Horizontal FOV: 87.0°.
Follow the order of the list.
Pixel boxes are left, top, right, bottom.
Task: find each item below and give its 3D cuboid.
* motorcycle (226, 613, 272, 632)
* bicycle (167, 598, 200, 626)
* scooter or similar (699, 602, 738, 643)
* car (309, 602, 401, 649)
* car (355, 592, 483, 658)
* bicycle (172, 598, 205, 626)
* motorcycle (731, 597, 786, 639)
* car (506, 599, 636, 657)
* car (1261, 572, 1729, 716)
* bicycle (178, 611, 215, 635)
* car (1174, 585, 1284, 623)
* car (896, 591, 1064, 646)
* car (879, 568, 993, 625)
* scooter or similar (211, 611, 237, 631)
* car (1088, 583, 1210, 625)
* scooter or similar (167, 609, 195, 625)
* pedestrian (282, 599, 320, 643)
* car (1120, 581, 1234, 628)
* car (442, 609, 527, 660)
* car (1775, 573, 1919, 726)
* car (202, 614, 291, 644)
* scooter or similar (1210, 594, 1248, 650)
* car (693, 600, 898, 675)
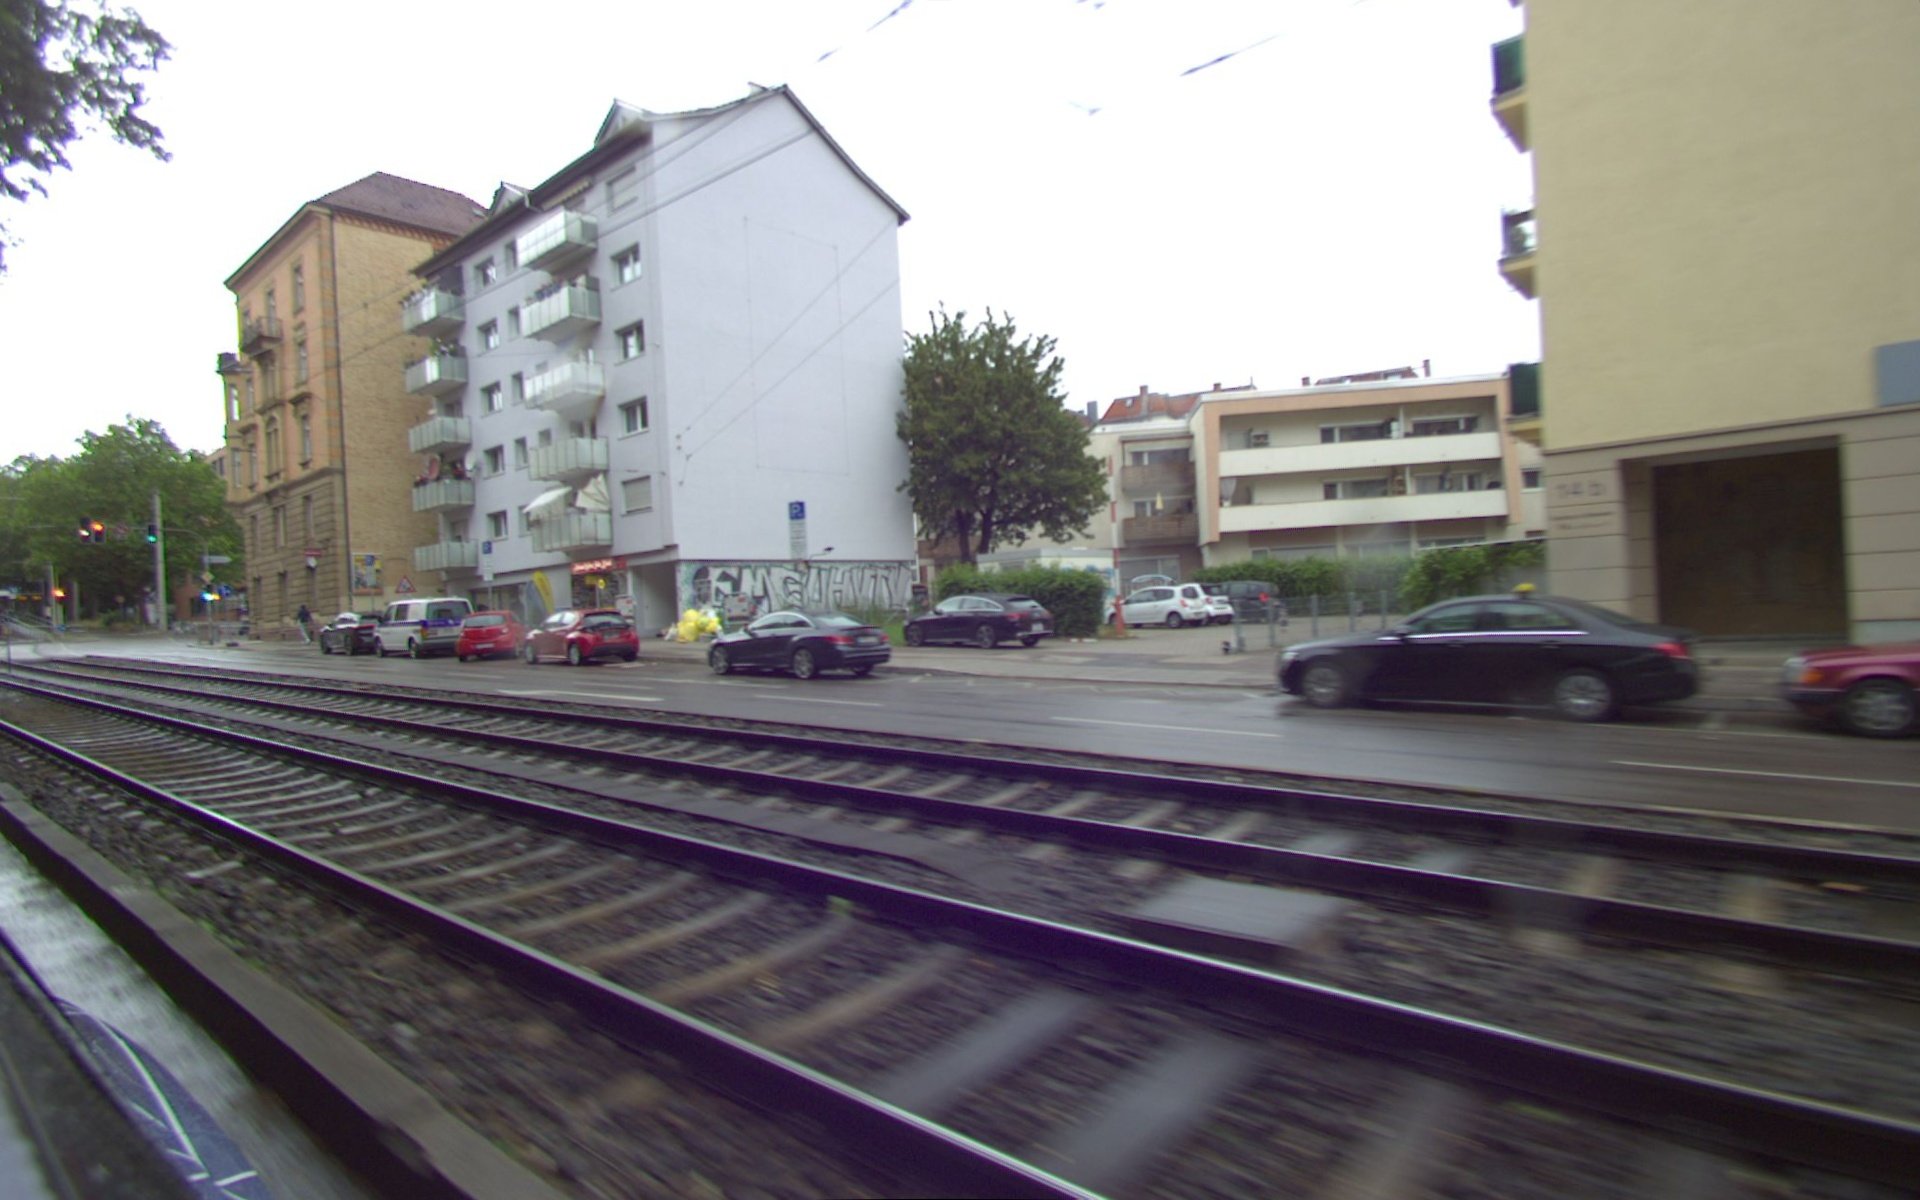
[{"bbox_3d":[-52.266,1.641,74.388,0.864,1.381,2.628,0,0,34],"label":"motorcycle"},{"bbox_3d":[-59.051,0.896,76.966,0.517,2.029,1.875,-1,1,34],"label":"bicycle"},{"bbox_3d":[-7.440,0.676,31.115,0.614,1.209,1.900,-3,1,-29],"label":"scooter or similar"},{"bbox_3d":[-23.040,0.936,38.492,4.361,1.663,1.715,-1,0,41],"label":"car"},{"bbox_3d":[-18.788,0.847,35.029,5.298,2.024,2.049,-1,2,41],"label":"car"},{"bbox_3d":[-58.222,0.889,76.412,0.517,2.029,1.875,-1,1,34],"label":"bicycle"},{"bbox_3d":[-6.225,0.539,31.175,1.783,1.209,0.633,1,5,40],"label":"motorcycle"},{"bbox_3d":[-10.748,0.731,27.826,4.072,1.462,1.636,0,0,41],"label":"car"},{"bbox_3d":[6.586,0.472,12.860,4.981,1.519,1.835,0,0,36],"label":"car"},{"bbox_3d":[-56.611,1.686,75.079,0.555,1.710,2.073,0,1,34],"label":"bicycle"},{"bbox_3d":[10.280,0.132,38.755,3.742,1.352,1.650,1,2,43],"label":"car"},{"bbox_3d":[0.444,0.487,26.683,1.848,1.313,4.483,-1,-1,-42],"label":"car"},{"bbox_3d":[-0.901,-0.084,36.088,3.998,1.836,1.668,-3,-2,42],"label":"car"},{"bbox_3d":[-54.332,1.546,74.729,0.450,1.381,1.494,-1,0,24],"label":"scooter or similar"},{"bbox_3d":[6.616,0.161,35.667,3.900,1.411,1.651,-1,0,40],"label":"car"},{"bbox_3d":[-60.020,1.291,77.974,0.475,1.203,1.707,0,0,20],"label":"scooter or similar"},{"bbox_3d":[-29.994,0.947,46.077,1.178,1.943,1.159,-1,0,42],"label":"pedestrian"},{"bbox_3d":[8.029,0.120,37.606,1.648,1.645,3.907,-2,2,-44],"label":"car"},{"bbox_3d":[-15.004,1.041,32.145,1.755,1.444,3.994,-1,0,-15],"label":"car"},{"bbox_3d":[10.797,0.450,9.516,4.829,1.443,1.832,0,1,41],"label":"car"},{"bbox_3d":[-40.451,1.631,57.464,1.766,1.550,3.769,0,0,22],"label":"car"},{"bbox_3d":[5.770,0.458,21.682,0.378,1.121,1.280,-2,0,34],"label":"scooter or similar"},{"bbox_3d":[-3.565,0.730,21.362,4.618,1.406,1.663,0,0,40],"label":"car"}]
